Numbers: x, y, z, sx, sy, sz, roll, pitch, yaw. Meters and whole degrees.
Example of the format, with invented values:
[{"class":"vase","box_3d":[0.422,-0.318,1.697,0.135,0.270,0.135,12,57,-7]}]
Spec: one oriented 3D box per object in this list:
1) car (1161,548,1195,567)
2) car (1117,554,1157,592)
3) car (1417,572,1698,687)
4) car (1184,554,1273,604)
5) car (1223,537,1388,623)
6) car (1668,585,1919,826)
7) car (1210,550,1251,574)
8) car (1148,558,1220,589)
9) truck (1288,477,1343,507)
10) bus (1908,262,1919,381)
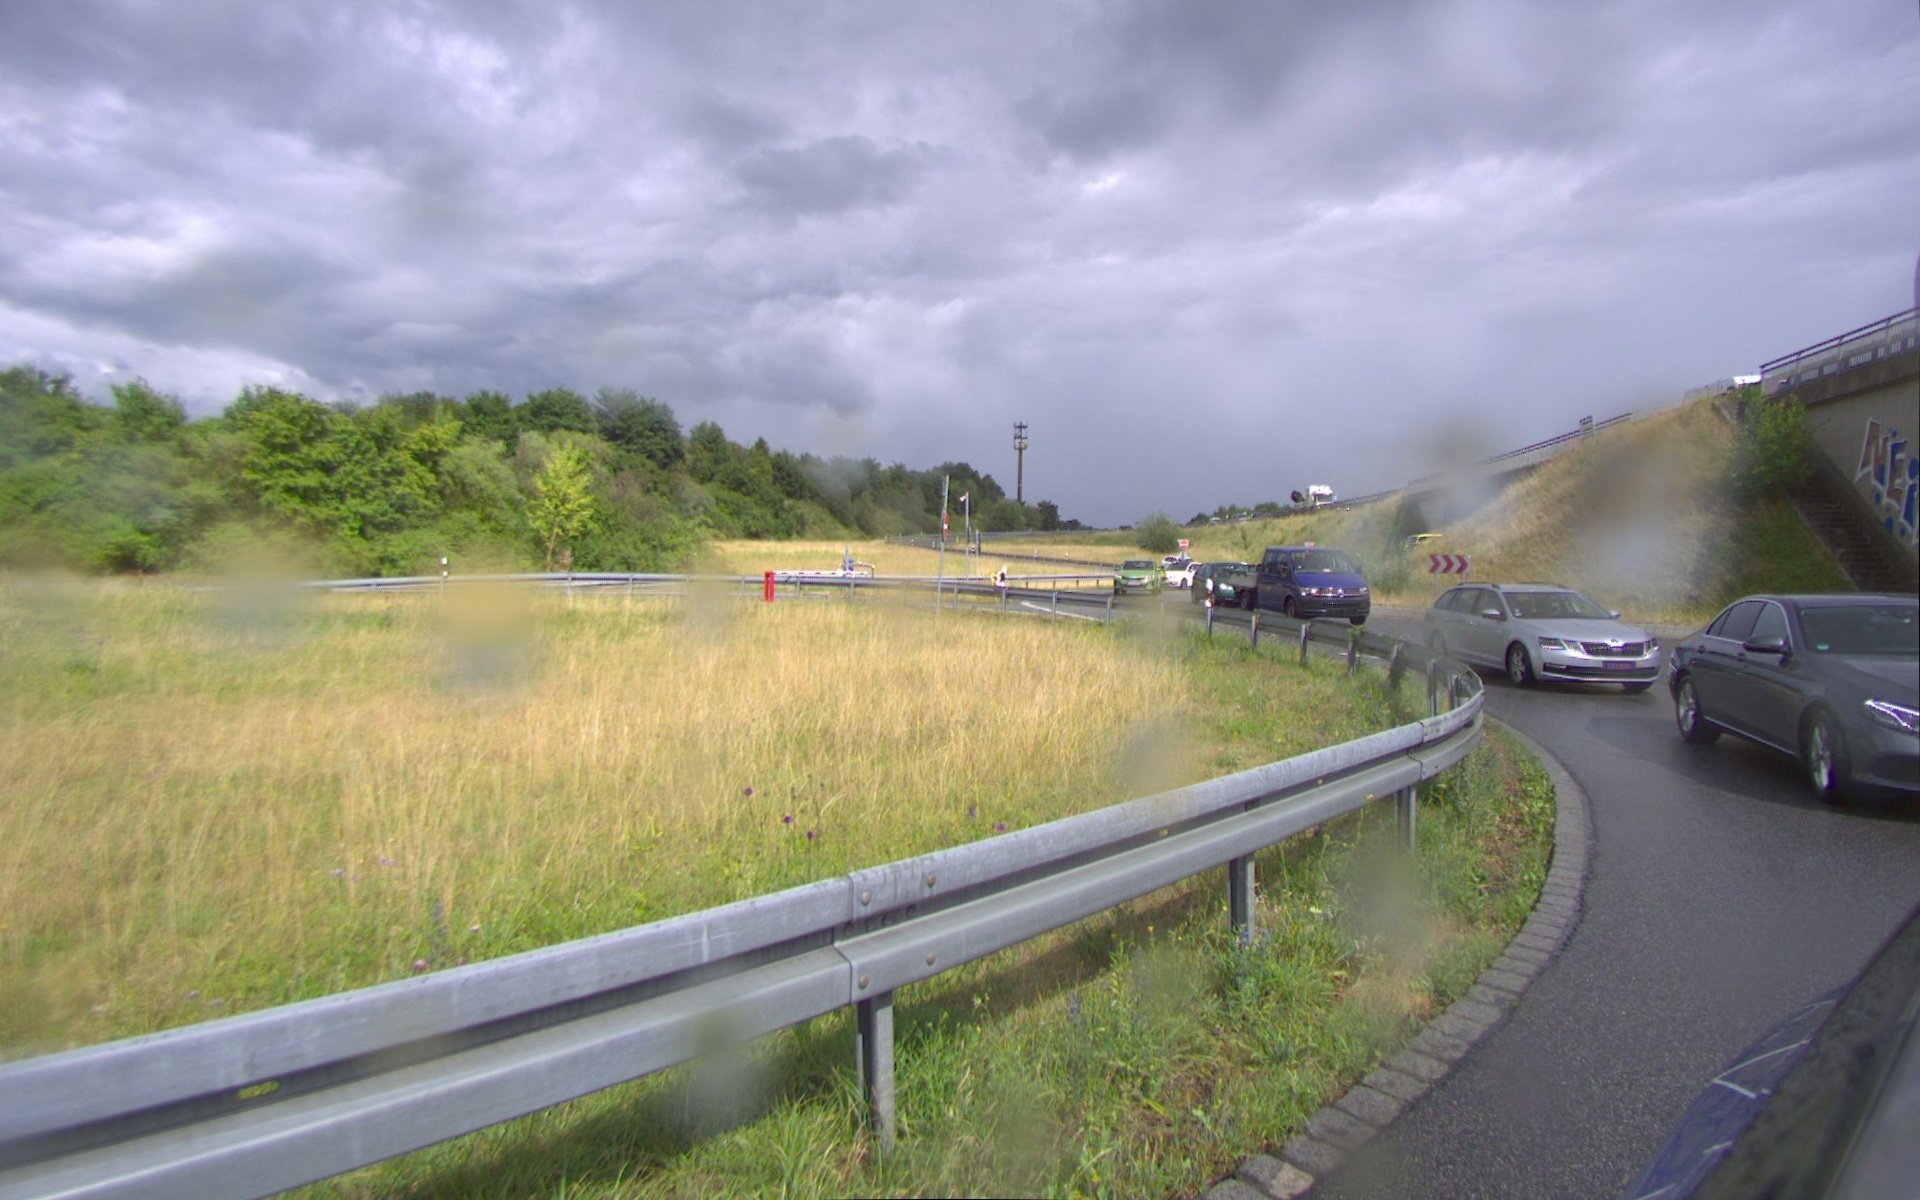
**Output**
[{"class":"car","box_3d":[16.368,-3.222,76.167,1.679,1.305,3.777,1,3,-1]},{"class":"car","box_3d":[7.442,-1.170,42.484,1.593,1.492,3.836,1,3,10]},{"class":"car","box_3d":[8.764,0.324,15.370,1.765,1.415,4.349,0,3,2]},{"class":"car","box_3d":[8.783,-0.746,33.379,1.624,1.492,3.852,0,3,-4]},{"class":"car","box_3d":[8.862,-0.638,26.603,1.855,1.937,5.693,0,4,-6]},{"class":"car","box_3d":[7.367,0.631,8.076,1.750,1.408,4.559,1,2,21]},{"class":"car","box_3d":[18.132,-2.585,67.926,1.587,1.492,3.933,1,3,-1]},{"class":"car","box_3d":[11.485,-1.388,51.849,3.862,1.492,1.616,-2,4,-41]},{"class":"truck","box_3d":[44.226,-13.410,126.236,3.099,3.232,9.292,-1,3,-4]},{"class":"bus","box_3d":[25.386,-7.119,20.274,2.575,3.116,14.410,0,3,14]}]
